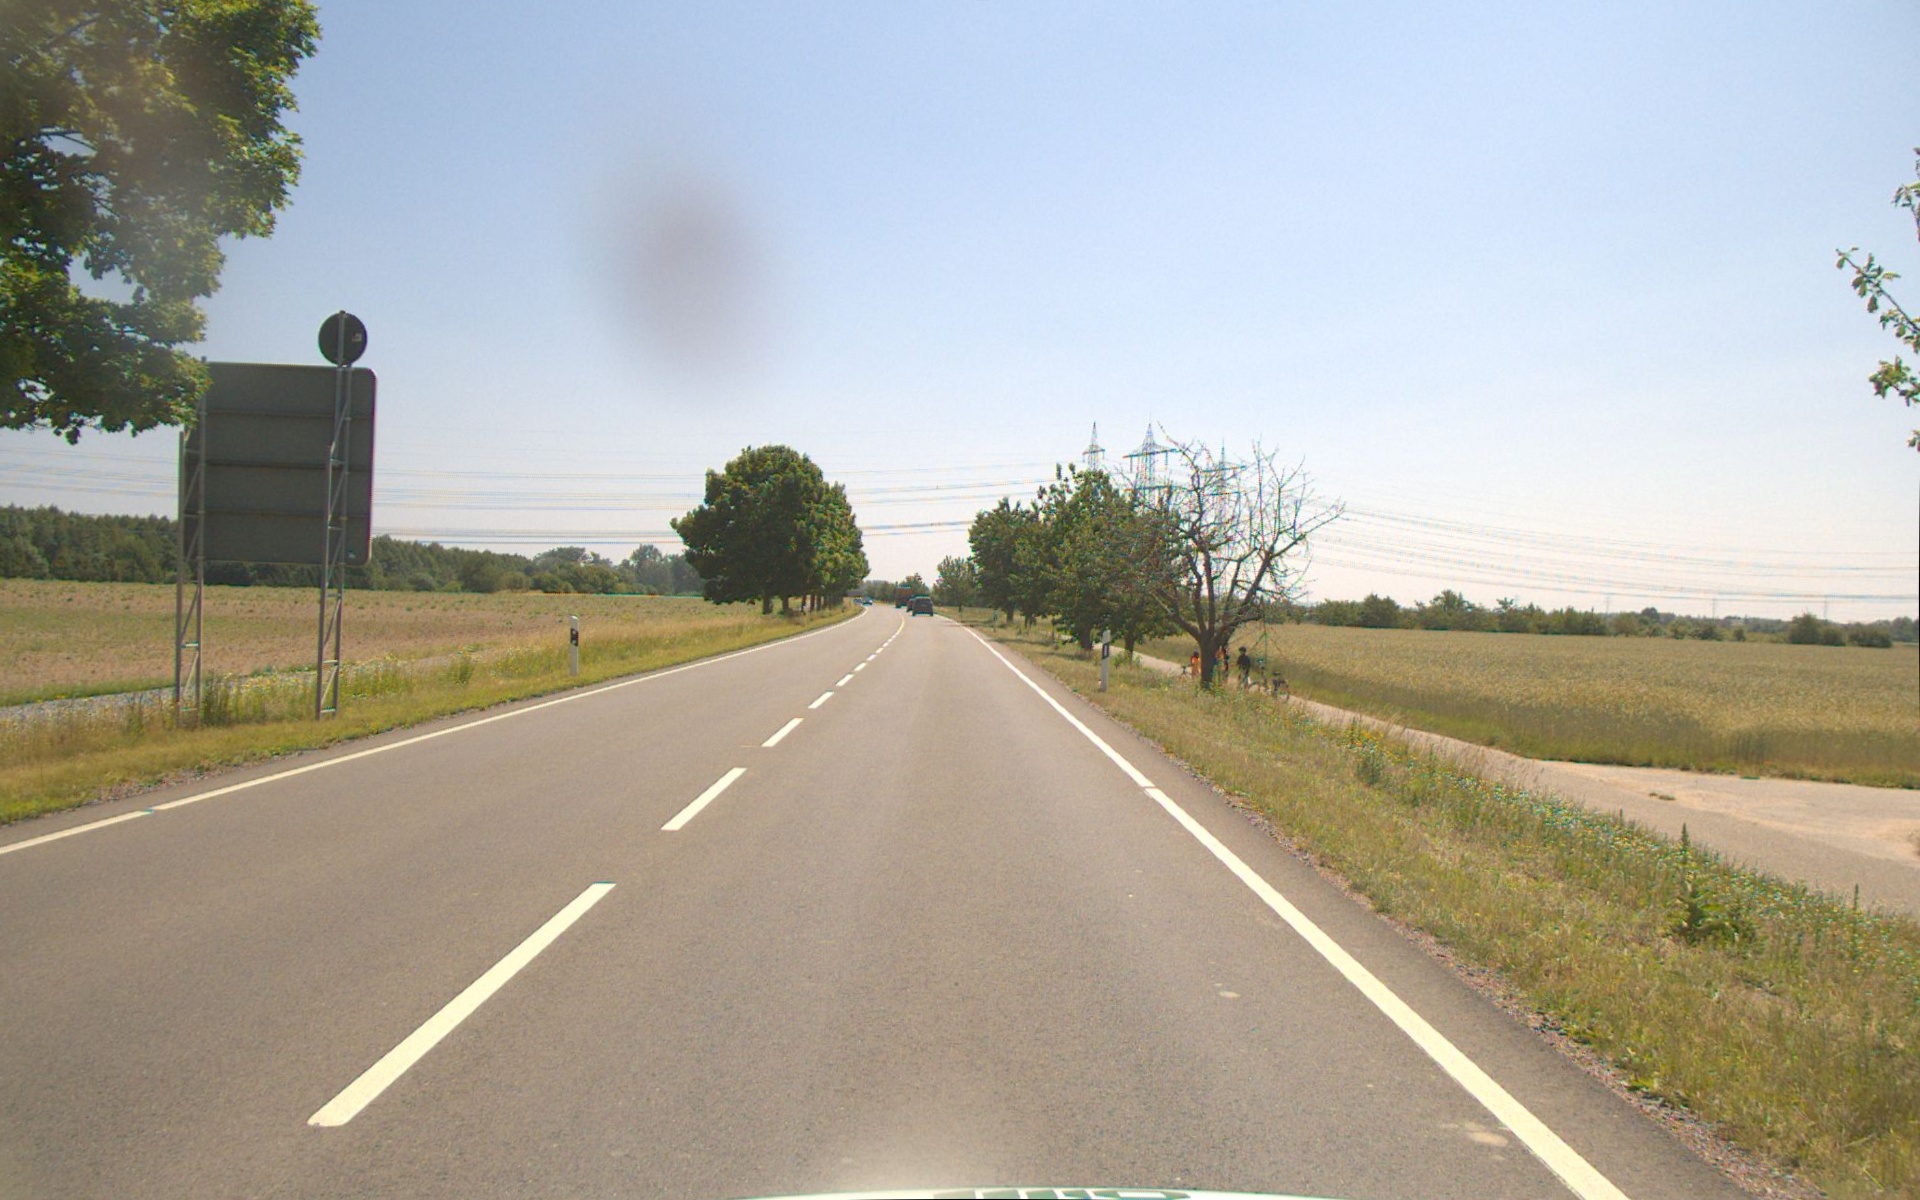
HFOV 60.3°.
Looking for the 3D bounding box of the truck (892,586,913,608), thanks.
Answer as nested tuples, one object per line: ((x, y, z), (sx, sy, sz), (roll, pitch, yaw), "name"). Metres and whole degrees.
((-8.807, -0.456, 253.419), (2.326, 3.194, 8.734), (2, 0, -7), "truck")

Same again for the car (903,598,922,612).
((-5.428, 0.567, 187.649), (1.815, 1.549, 3.995), (1, 0, -6), "car")

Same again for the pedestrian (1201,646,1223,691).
((7.583, 2.067, 49.800), (0.477, 1.318, 0.441), (1, 0, 32), "pedestrian")

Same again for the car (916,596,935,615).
((-3.097, 0.495, 147.523), (1.680, 1.723, 3.987), (1, 0, -2), "car")

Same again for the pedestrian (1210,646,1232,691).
((7.928, 2.063, 50.232), (0.478, 1.337, 0.439), (1, 0, 41), "pedestrian")

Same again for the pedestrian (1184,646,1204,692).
((6.950, 2.046, 49.165), (0.432, 1.318, 0.486), (1, 0, -8), "pedestrian")

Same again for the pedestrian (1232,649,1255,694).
((8.447, 2.118, 49.225), (0.479, 1.318, 0.439), (1, 0, 44), "pedestrian")

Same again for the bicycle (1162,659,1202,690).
((6.663, 2.238, 49.662), (1.097, 0.875, 0.440), (1, 0, 36), "bicycle")

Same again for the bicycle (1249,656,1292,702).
((8.648, 2.194, 46.168), (0.467, 1.186, 1.675), (2, 0, -16), "bicycle")
